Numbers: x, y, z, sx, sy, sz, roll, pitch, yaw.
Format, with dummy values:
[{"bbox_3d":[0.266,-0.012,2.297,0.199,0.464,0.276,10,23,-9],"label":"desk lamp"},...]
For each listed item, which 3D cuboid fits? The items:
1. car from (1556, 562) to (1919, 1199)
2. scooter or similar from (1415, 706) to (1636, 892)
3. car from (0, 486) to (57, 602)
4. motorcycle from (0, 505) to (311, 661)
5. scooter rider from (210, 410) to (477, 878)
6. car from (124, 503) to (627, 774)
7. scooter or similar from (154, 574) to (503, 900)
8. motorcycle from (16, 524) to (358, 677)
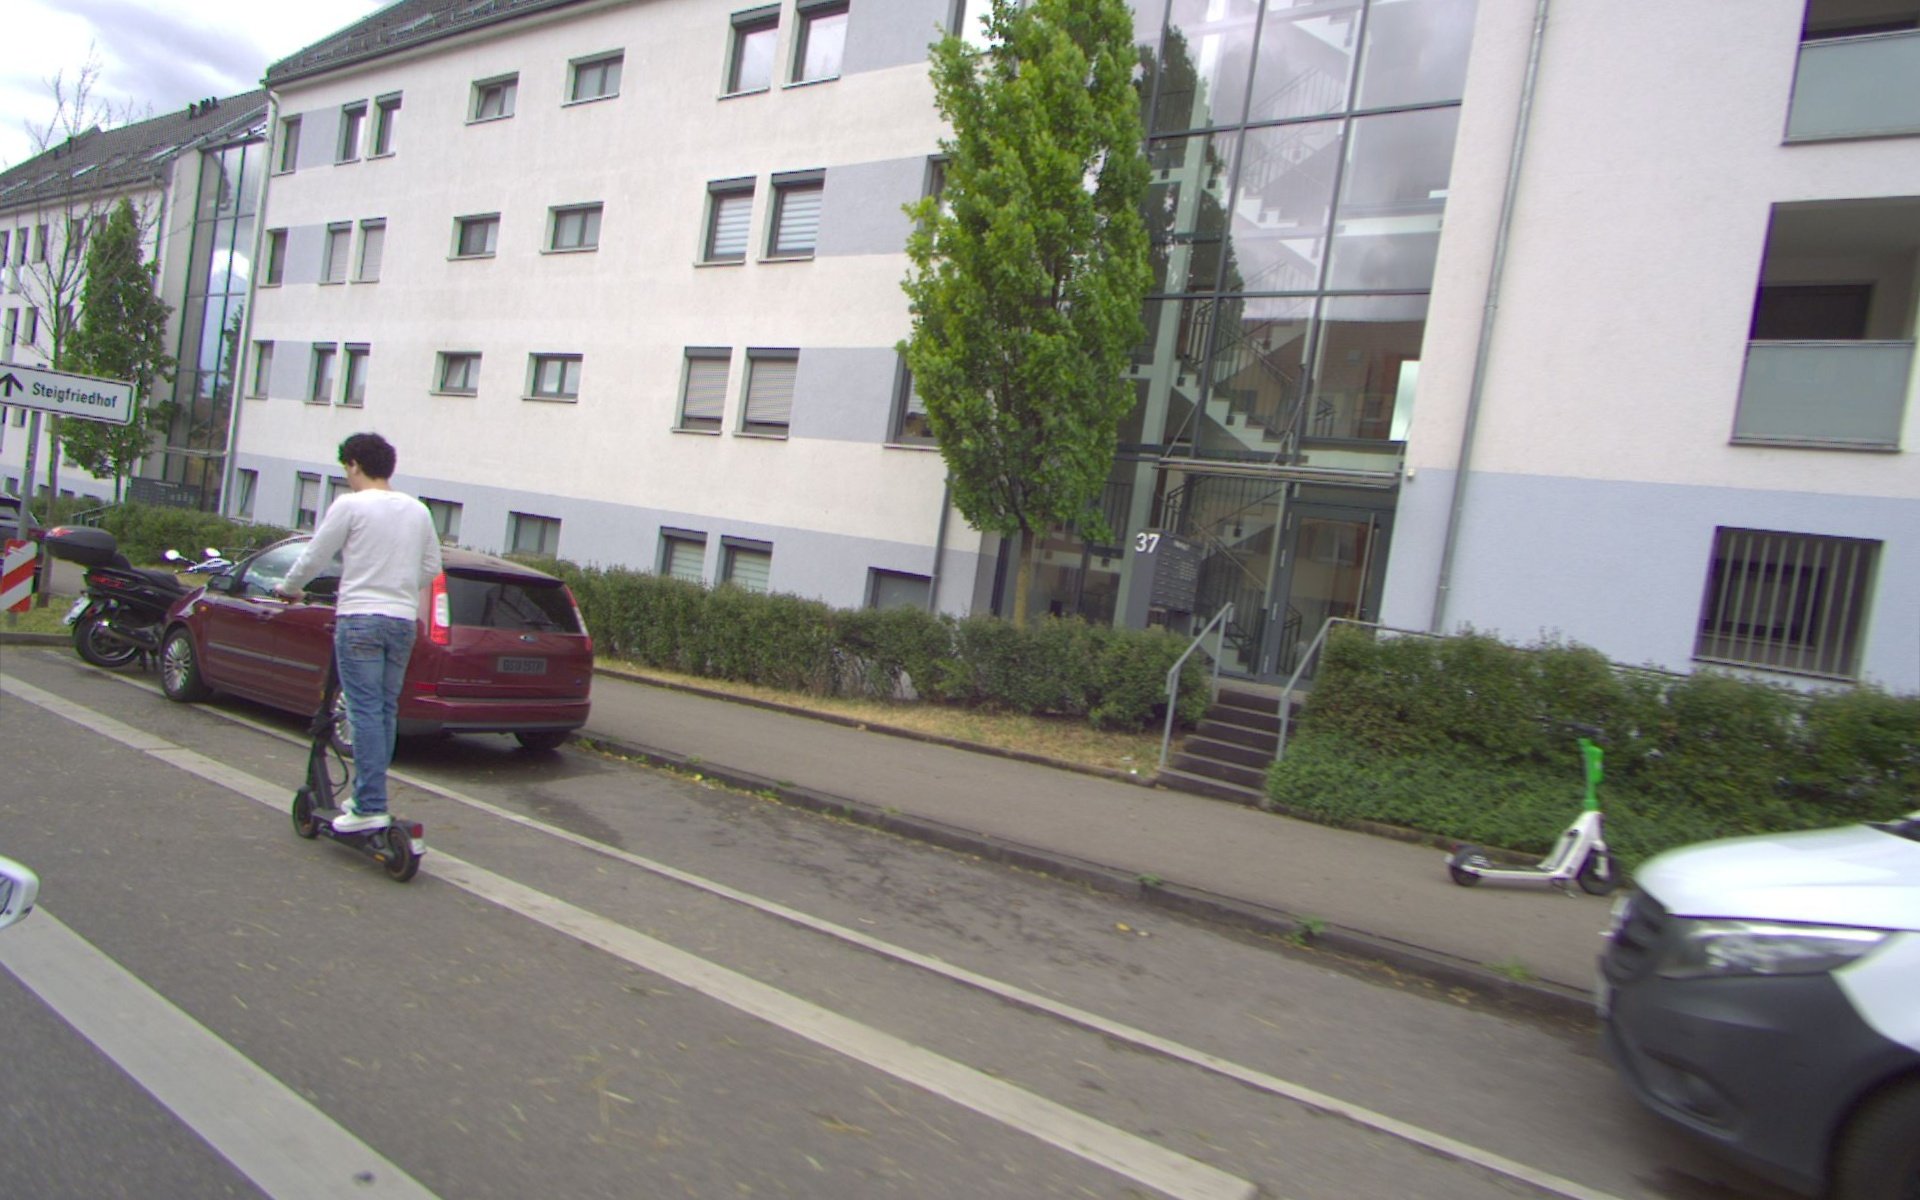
[{"bbox_3d":[4.656,1.216,2.633,5.124,1.967,1.996,7,0,31],"label":"car"},{"bbox_3d":[3.877,1.367,6.889,1.367,1.118,0.467,7,0,-23],"label":"scooter or similar"},{"bbox_3d":[-16.212,-1.097,15.789,4.282,1.669,1.636,7,-2,30],"label":"car"},{"bbox_3d":[-8.593,-0.107,10.818,0.680,1.397,2.603,7,0,28],"label":"motorcycle"},{"bbox_3d":[-2.948,0.182,4.825,0.745,2.038,0.626,8,1,31],"label":"scooter rider"},{"bbox_3d":[-5.024,0.222,8.492,4.266,1.563,1.684,7,0,31],"label":"car"},{"bbox_3d":[-3.149,0.576,4.927,2.040,1.177,0.491,7,0,31],"label":"scooter or similar"},{"bbox_3d":[-7.733,0.081,10.278,0.740,1.294,2.603,7,0,28],"label":"motorcycle"}]
